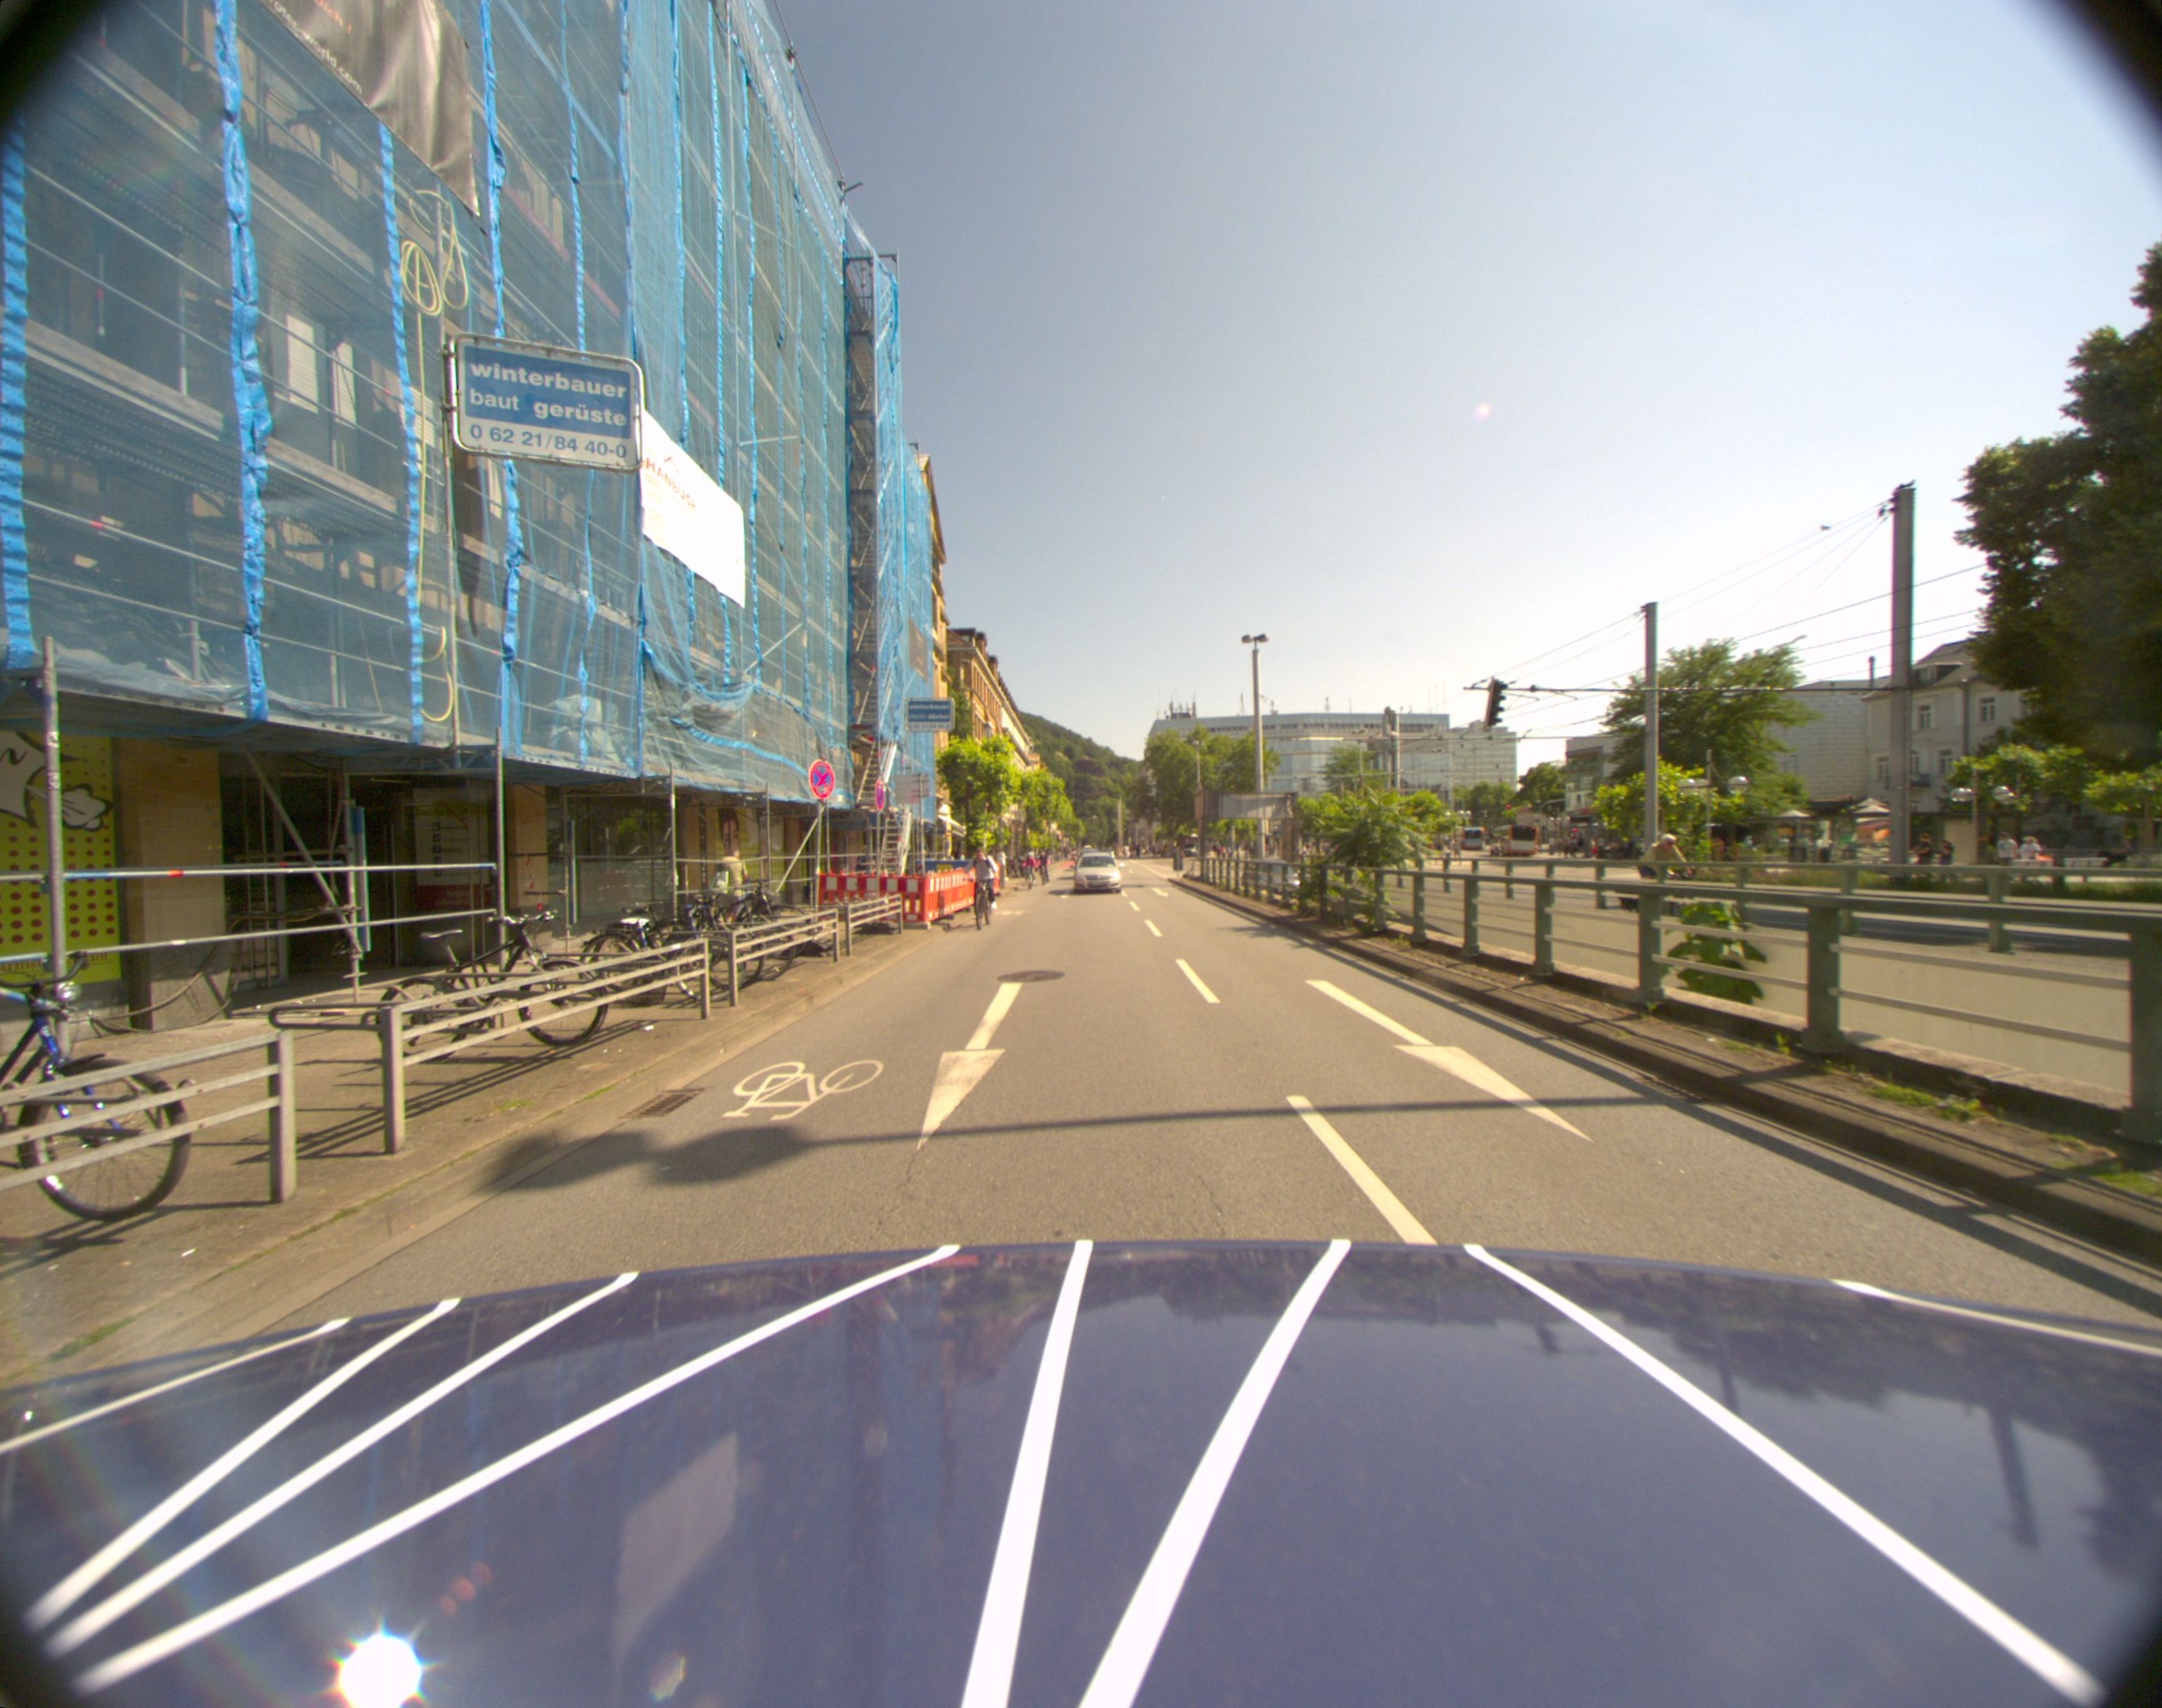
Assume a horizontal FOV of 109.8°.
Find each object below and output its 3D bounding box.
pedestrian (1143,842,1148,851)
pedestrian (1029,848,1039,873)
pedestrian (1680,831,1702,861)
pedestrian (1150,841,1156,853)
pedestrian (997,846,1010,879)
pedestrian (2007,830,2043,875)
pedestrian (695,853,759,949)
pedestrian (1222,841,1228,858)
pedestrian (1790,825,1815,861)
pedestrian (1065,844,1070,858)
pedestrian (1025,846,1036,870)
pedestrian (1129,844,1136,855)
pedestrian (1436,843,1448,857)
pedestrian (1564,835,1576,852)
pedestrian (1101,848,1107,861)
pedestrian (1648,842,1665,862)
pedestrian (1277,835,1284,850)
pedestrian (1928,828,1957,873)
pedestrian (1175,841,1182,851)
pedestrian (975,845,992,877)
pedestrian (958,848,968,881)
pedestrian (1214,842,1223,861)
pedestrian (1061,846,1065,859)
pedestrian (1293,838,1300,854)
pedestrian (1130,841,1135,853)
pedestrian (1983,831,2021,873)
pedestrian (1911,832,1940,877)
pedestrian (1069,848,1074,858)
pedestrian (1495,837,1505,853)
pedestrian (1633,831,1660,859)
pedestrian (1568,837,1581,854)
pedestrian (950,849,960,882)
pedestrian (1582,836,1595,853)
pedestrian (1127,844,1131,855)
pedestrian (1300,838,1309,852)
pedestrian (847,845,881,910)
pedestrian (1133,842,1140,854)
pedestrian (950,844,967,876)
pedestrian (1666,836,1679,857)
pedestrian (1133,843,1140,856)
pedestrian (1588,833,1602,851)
[{"bbox_3d":[12.213,-1.430,142.980,0.732,1.661,0.640,-3,2,14],"label":"pedestrian"},{"bbox_3d":[-3.132,0.439,50.566,0.601,1.617,0.643,1,1,-11],"label":"pedestrian"},{"bbox_3d":[34.924,-0.480,43.496,0.678,1.696,0.705,1,1,0],"label":"pedestrian"},{"bbox_3d":[10.575,-1.051,111.490,0.751,1.737,0.666,-3,1,-1],"label":"pedestrian"},{"bbox_3d":[-4.080,0.449,39.928,0.658,1.674,0.653,-1,2,-6],"label":"pedestrian"},{"bbox_3d":[34.110,-0.055,27.455,0.494,1.600,0.620,1,1,-6],"label":"pedestrian"},{"bbox_3d":[-6.146,0.794,13.232,0.645,1.592,0.765,-3,1,1],"label":"pedestrian"},{"bbox_3d":[13.399,-0.410,70.558,0.525,1.600,0.627,1,1,10],"label":"pedestrian"},{"bbox_3d":[39.812,-0.613,41.946,0.630,1.996,0.736,1,1,6],"label":"pedestrian"},{"bbox_3d":[-1.870,-0.394,105.817,0.578,1.835,0.717,-3,1,-2],"label":"pedestrian"},{"bbox_3d":[-3.392,0.278,51.210,0.697,1.617,0.701,0,2,-9],"label":"pedestrian"},{"bbox_3d":[7.845,-0.678,115.659,0.876,1.737,0.733,-3,1,-1],"label":"pedestrian"},{"bbox_3d":[26.481,-0.285,55.718,0.635,0.995,0.580,1,1,3],"label":"pedestrian"},{"bbox_3d":[43.179,-0.927,67.122,0.625,1.457,0.680,1,1,-2],"label":"pedestrian"},{"bbox_3d":[3.141,0.108,102.806,0.699,1.775,0.578,0,1,-5],"label":"pedestrian"},{"bbox_3d":[37.119,-0.152,49.030,0.622,1.256,0.582,1,1,10],"label":"pedestrian"},{"bbox_3d":[23.862,-1.345,90.885,0.577,1.805,0.605,1,1,1],"label":"pedestrian"},{"bbox_3d":[30.588,-0.125,26.973,0.414,1.600,0.495,1,1,-1],"label":"pedestrian"},{"bbox_3d":[13.848,-1.083,107.785,0.752,1.400,0.782,-3,1,-9],"label":"pedestrian"},{"bbox_3d":[-5.762,0.410,44.974,0.816,1.838,0.892,0,2,8],"label":"pedestrian"},{"bbox_3d":[-6.114,0.540,39.367,0.499,1.673,0.537,0,2,-2],"label":"pedestrian"},{"bbox_3d":[12.743,-0.244,70.572,0.527,1.723,0.586,1,1,-29],"label":"pedestrian"},{"bbox_3d":[-2.623,-0.245,109.162,0.578,1.775,0.699,0,1,-2],"label":"pedestrian"},{"bbox_3d":[23.240,-0.879,81.807,0.473,1.656,0.521,1,1,-21],"label":"pedestrian"},{"bbox_3d":[7.551,-1.008,111.240,0.612,1.737,0.752,-2,1,-1],"label":"pedestrian"},{"bbox_3d":[33.029,-0.076,27.260,0.526,1.484,0.661,1,1,-2],"label":"pedestrian"},{"bbox_3d":[30.657,0.029,27.587,0.453,1.600,0.466,1,1,-2],"label":"pedestrian"},{"bbox_3d":[-1.453,-0.181,115.395,0.672,1.488,0.637,-3,2,-13],"label":"pedestrian"},{"bbox_3d":[40.258,-0.874,72.954,0.526,1.457,0.588,1,1,-19],"label":"pedestrian"},{"bbox_3d":[36.066,-0.564,48.476,0.967,1.783,1.081,1,1,10],"label":"pedestrian"},{"bbox_3d":[42.968,-0.759,66.165,0.625,1.457,0.680,1,1,-4],"label":"pedestrian"},{"bbox_3d":[-6.438,0.586,38.846,0.381,1.673,0.476,0,2,0],"label":"pedestrian"},{"bbox_3d":[43.539,-0.830,65.174,0.625,1.457,0.680,1,1,-4],"label":"pedestrian"},{"bbox_3d":[7.683,-0.779,121.519,0.639,1.737,0.733,-3,1,0],"label":"pedestrian"},{"bbox_3d":[23.919,-0.961,81.317,0.626,1.457,0.552,1,1,-21],"label":"pedestrian"},{"bbox_3d":[-6.031,0.644,21.176,0.641,1.766,0.649,-3,1,1],"label":"pedestrian"},{"bbox_3d":[7.800,-0.834,105.954,0.630,1.639,0.753,-2,2,27],"label":"pedestrian"},{"bbox_3d":[-6.780,0.314,42.058,0.669,1.771,0.985,-1,2,5],"label":"pedestrian"},{"bbox_3d":[35.916,-0.429,46.135,0.404,1.256,0.481,1,1,-18],"label":"pedestrian"},{"bbox_3d":[7.887,-0.580,107.585,0.537,1.773,0.745,-2,2,36],"label":"pedestrian"},{"bbox_3d":[43.061,-1.012,63.661,0.624,1.457,0.681,1,1,5],"label":"pedestrian"}]
